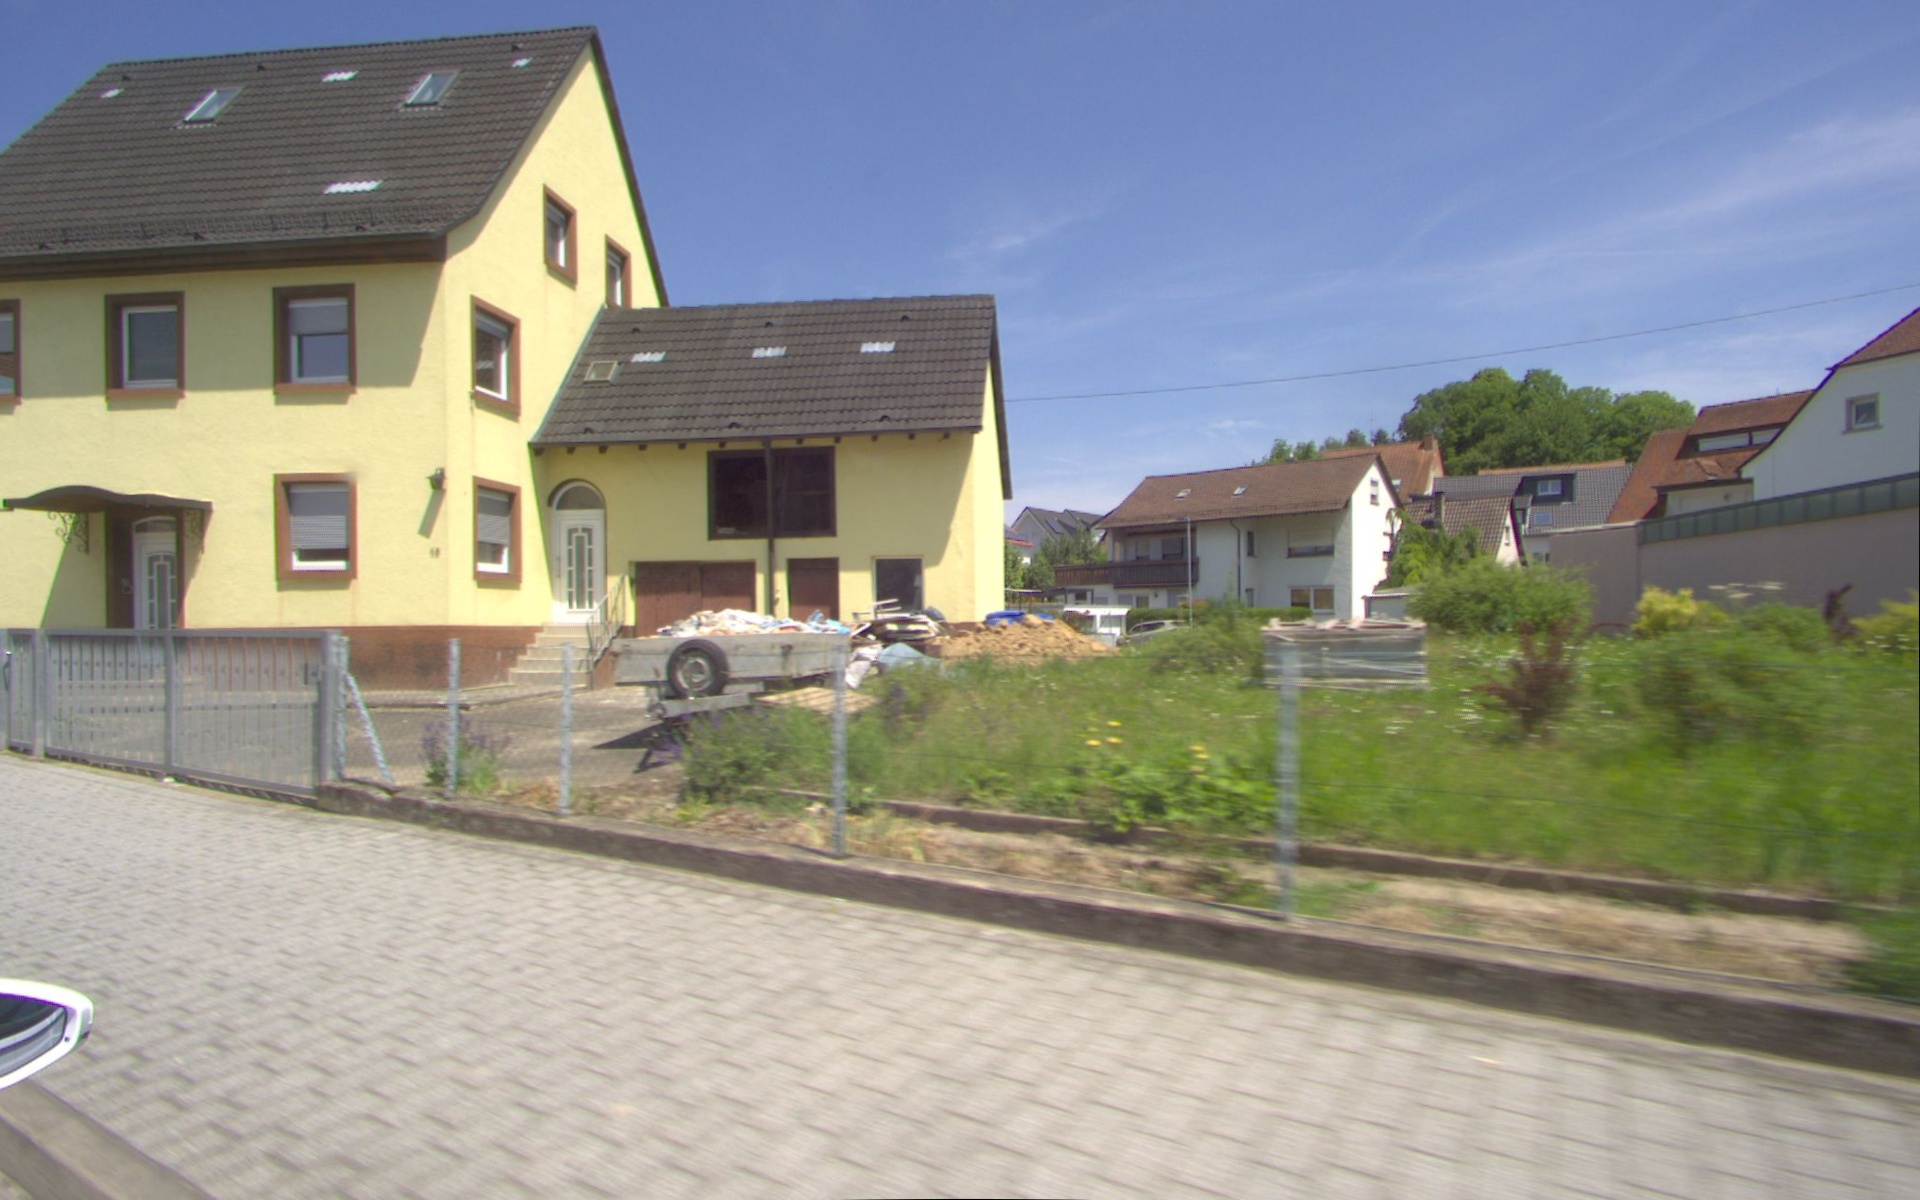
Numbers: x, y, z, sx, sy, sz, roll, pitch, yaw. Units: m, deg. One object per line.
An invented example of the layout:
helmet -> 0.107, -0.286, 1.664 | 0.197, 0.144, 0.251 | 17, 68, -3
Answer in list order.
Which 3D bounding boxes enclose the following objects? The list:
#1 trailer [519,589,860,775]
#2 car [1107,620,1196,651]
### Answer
trailer -> -2.570, 0.794, 11.162 | 2.097, 1.565, 5.366 | -1, -2, 3
car -> 8.965, 1.660, 47.052 | 1.648, 1.380, 3.963 | 1, -2, -42
